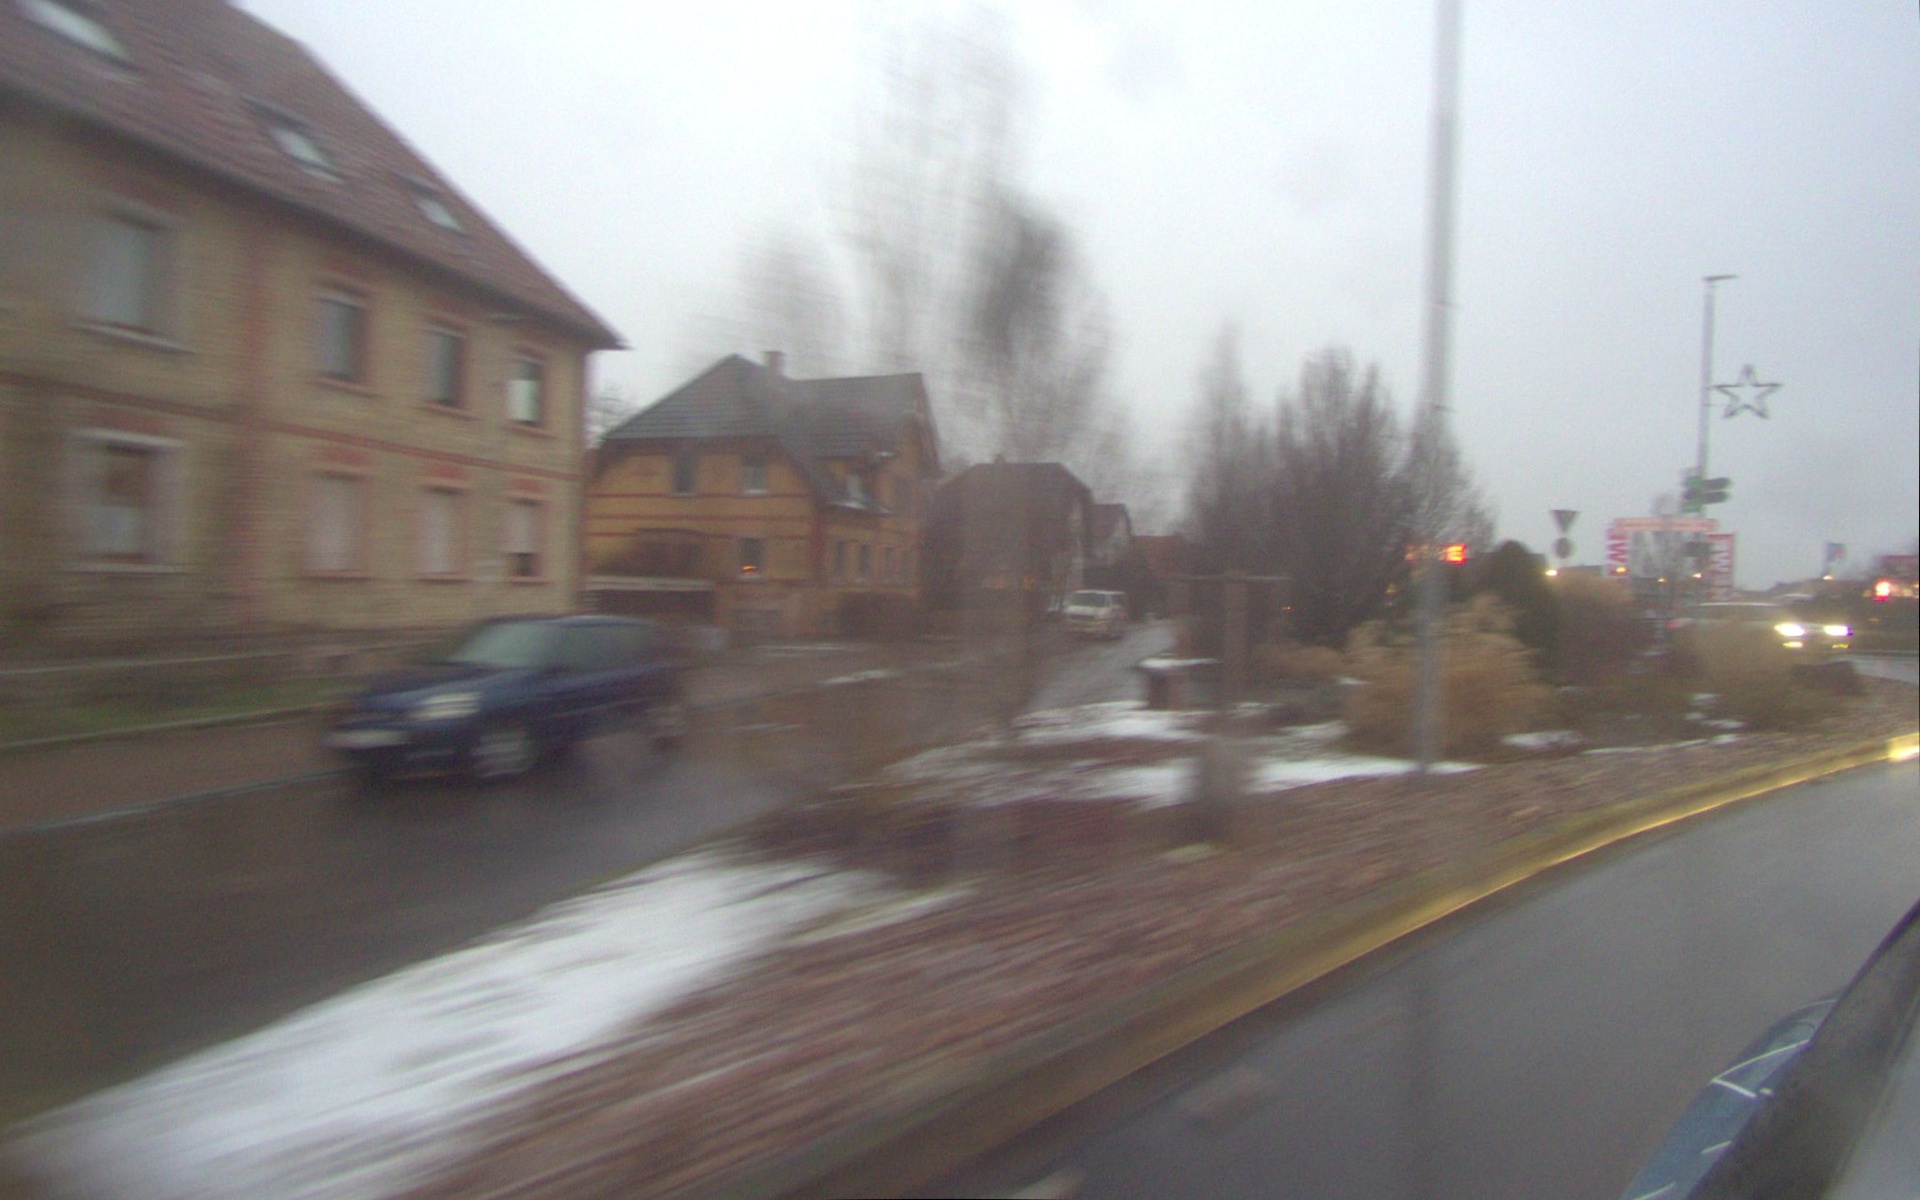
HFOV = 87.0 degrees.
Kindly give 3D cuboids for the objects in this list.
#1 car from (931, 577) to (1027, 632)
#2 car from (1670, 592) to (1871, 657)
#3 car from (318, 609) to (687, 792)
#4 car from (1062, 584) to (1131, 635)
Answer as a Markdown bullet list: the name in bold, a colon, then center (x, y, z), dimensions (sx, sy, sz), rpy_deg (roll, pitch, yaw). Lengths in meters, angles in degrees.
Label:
- **car**: center (0.852, 0.108, 39.983), dimensions (2.336, 1.888, 5.303), rpy_deg (2, 2, 17)
- **car**: center (20.348, 0.591, 25.616), dimensions (1.628, 1.511, 3.718), rpy_deg (0, -1, -15)
- **car**: center (-4.186, 0.806, 9.883), dimensions (1.269, 1.401, 3.561), rpy_deg (1, 0, 16)
- **car**: center (5.677, 0.396, 41.572), dimensions (1.913, 1.943, 5.215), rpy_deg (0, -1, 19)
